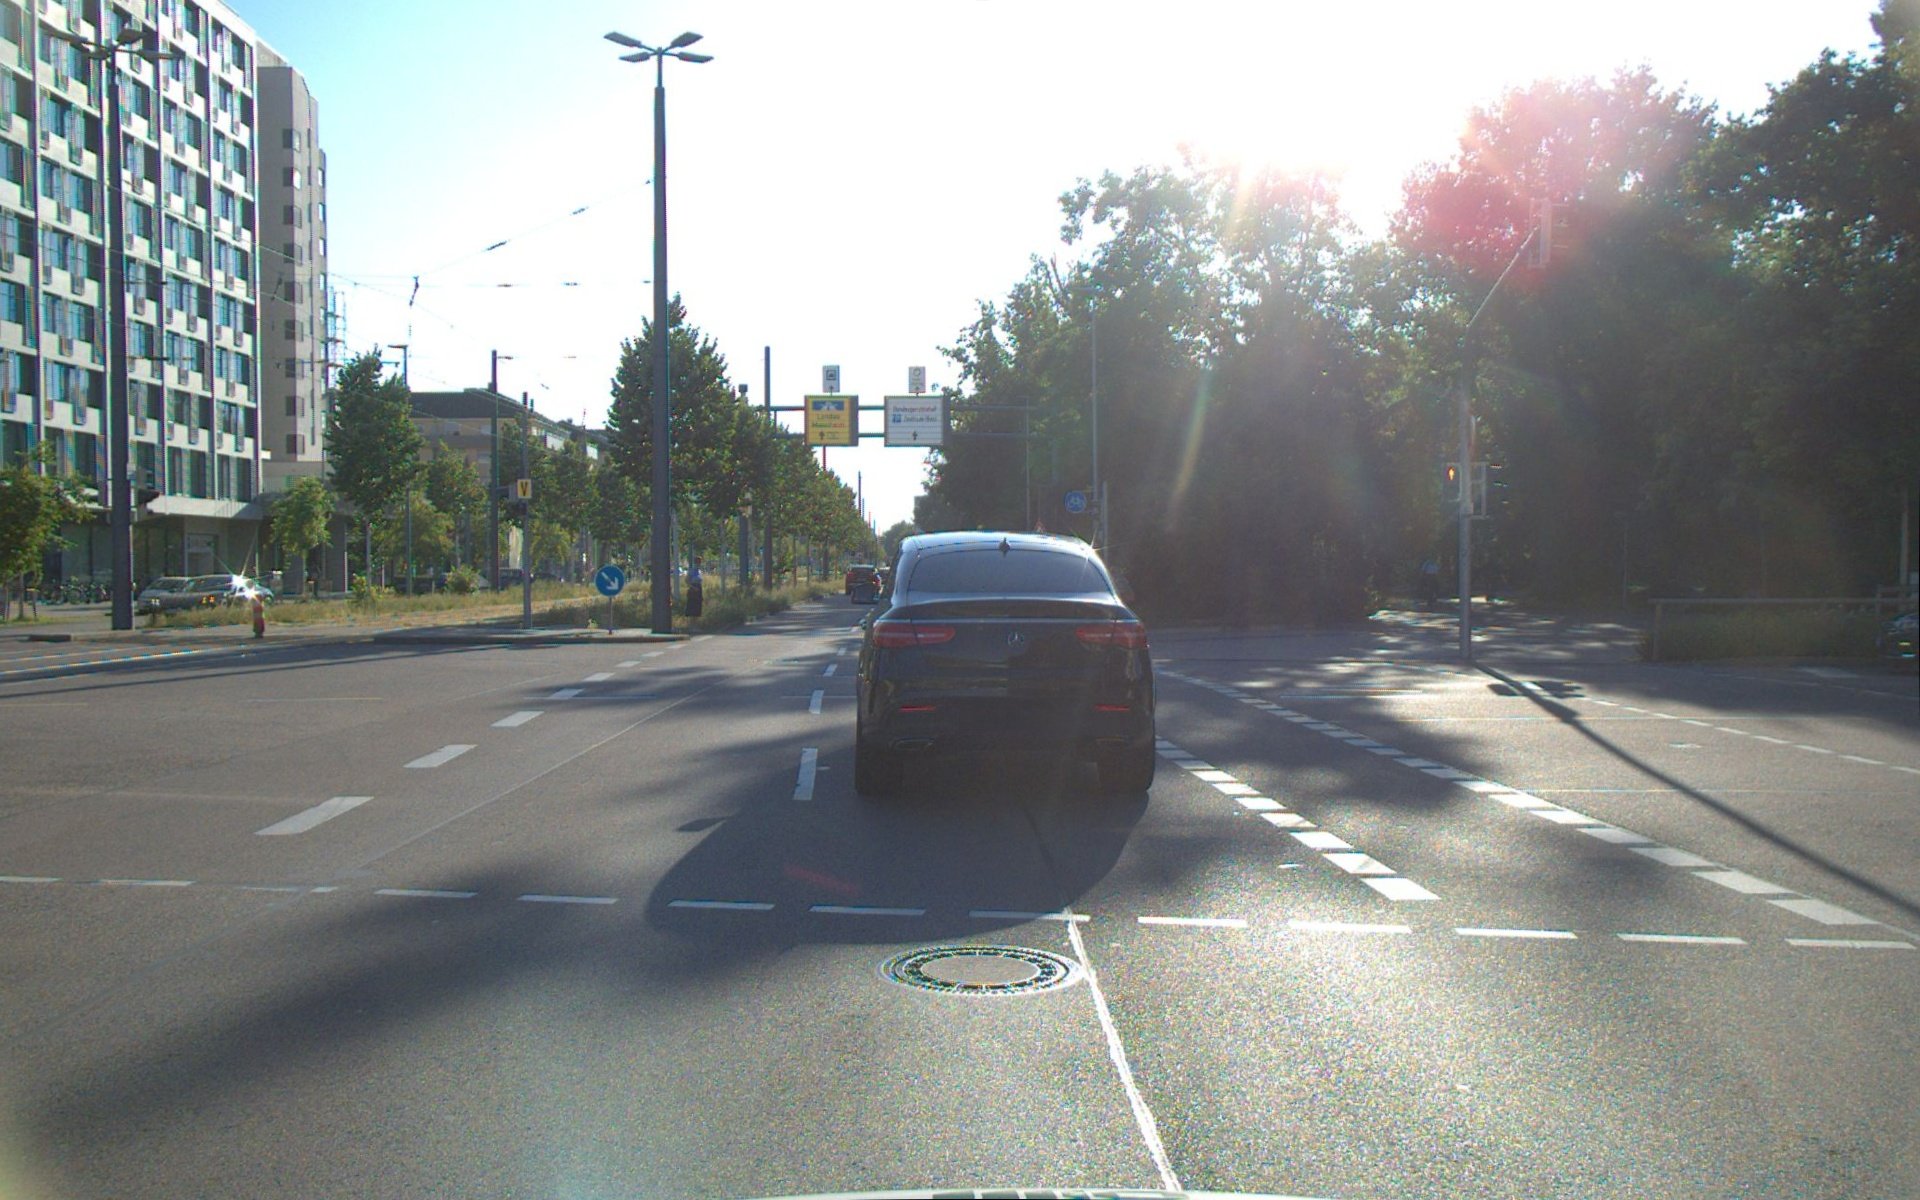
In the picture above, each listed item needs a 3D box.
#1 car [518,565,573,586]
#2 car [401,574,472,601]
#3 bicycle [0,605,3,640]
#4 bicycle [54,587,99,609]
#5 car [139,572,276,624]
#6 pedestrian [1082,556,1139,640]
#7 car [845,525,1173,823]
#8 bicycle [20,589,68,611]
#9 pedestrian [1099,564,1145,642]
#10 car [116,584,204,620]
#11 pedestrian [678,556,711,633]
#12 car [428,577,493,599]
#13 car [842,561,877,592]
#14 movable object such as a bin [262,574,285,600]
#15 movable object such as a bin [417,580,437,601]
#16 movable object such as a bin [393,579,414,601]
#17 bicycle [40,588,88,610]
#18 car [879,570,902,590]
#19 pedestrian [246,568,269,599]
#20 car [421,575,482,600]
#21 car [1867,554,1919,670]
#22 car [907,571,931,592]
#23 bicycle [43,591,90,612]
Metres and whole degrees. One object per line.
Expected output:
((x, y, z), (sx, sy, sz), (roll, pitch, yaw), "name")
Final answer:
((-33.731, -1.999, 134.654), (3.969, 1.590, 1.968), (0, 1, -44), "car")
((-34.075, -0.795, 107.632), (4.062, 1.629, 1.723), (1, 1, -43), "car")
((-29.663, 0.708, 49.700), (0.612, 1.085, 2.077), (0, 1, -1), "bicycle")
((-40.058, -0.092, 75.000), (1.716, 0.983, 0.483), (1, 1, -3), "bicycle")
((-21.531, -0.096, 47.546), (1.853, 1.367, 4.849), (0, 1, -2), "car")
((3.392, -0.045, 37.415), (0.850, 1.833, 0.896), (-3, 1, -36), "pedestrian")
((0.388, 0.404, 11.927), (1.952, 1.764, 4.002), (1, 1, 3), "car")
((-39.959, -0.007, 72.172), (1.770, 0.920, 0.511), (-1, 1, -8), "bicycle")
((3.577, 0.061, 36.584), (0.752, 1.665, 0.768), (-3, 1, -11), "pedestrian")
((-32.558, 0.059, 67.419), (1.721, 1.351, 3.999), (1, 1, -1), "car")
((-6.021, -0.134, 37.568), (0.586, 1.729, 0.714), (-1, 1, 3), "pedestrian")
((-34.418, -0.820, 114.035), (1.754, 1.478, 3.979), (2, 1, 40), "car")
((-5.564, -1.317, 91.923), (1.848, 1.608, 3.999), (0, 2, -2), "car")
((-40.380, -0.771, 97.295), (0.784, 1.465, 1.402), (-1, 1, -2), "movable object such as a bin")
((-32.997, -0.605, 102.419), (0.839, 1.303, 0.940), (0, 1, 13), "movable object such as a bin")
((-34.346, -0.619, 102.050), (0.839, 1.381, 0.940), (0, 1, 13), "movable object such as a bin")
((-39.773, -0.046, 73.446), (1.770, 0.920, 0.511), (-1, 1, -8), "bicycle")
((-5.770, -1.693, 137.607), (1.848, 1.608, 3.999), (0, 2, -2), "car")
((-38.161, -0.901, 89.814), (0.826, 1.682, 0.970), (0, 1, 0), "pedestrian")
((-34.153, -0.836, 111.189), (3.596, 1.549, 1.596), (1, 0, -43), "car")
((14.517, 0.134, 21.585), (4.493, 1.500, 1.903), (0, 0, 23), "car")
((-3.308, -1.497, 131.668), (1.848, 1.608, 3.999), (0, 2, -2), "car")
((-39.825, 0.065, 73.757), (1.770, 0.920, 0.511), (-1, 1, -8), "bicycle")
